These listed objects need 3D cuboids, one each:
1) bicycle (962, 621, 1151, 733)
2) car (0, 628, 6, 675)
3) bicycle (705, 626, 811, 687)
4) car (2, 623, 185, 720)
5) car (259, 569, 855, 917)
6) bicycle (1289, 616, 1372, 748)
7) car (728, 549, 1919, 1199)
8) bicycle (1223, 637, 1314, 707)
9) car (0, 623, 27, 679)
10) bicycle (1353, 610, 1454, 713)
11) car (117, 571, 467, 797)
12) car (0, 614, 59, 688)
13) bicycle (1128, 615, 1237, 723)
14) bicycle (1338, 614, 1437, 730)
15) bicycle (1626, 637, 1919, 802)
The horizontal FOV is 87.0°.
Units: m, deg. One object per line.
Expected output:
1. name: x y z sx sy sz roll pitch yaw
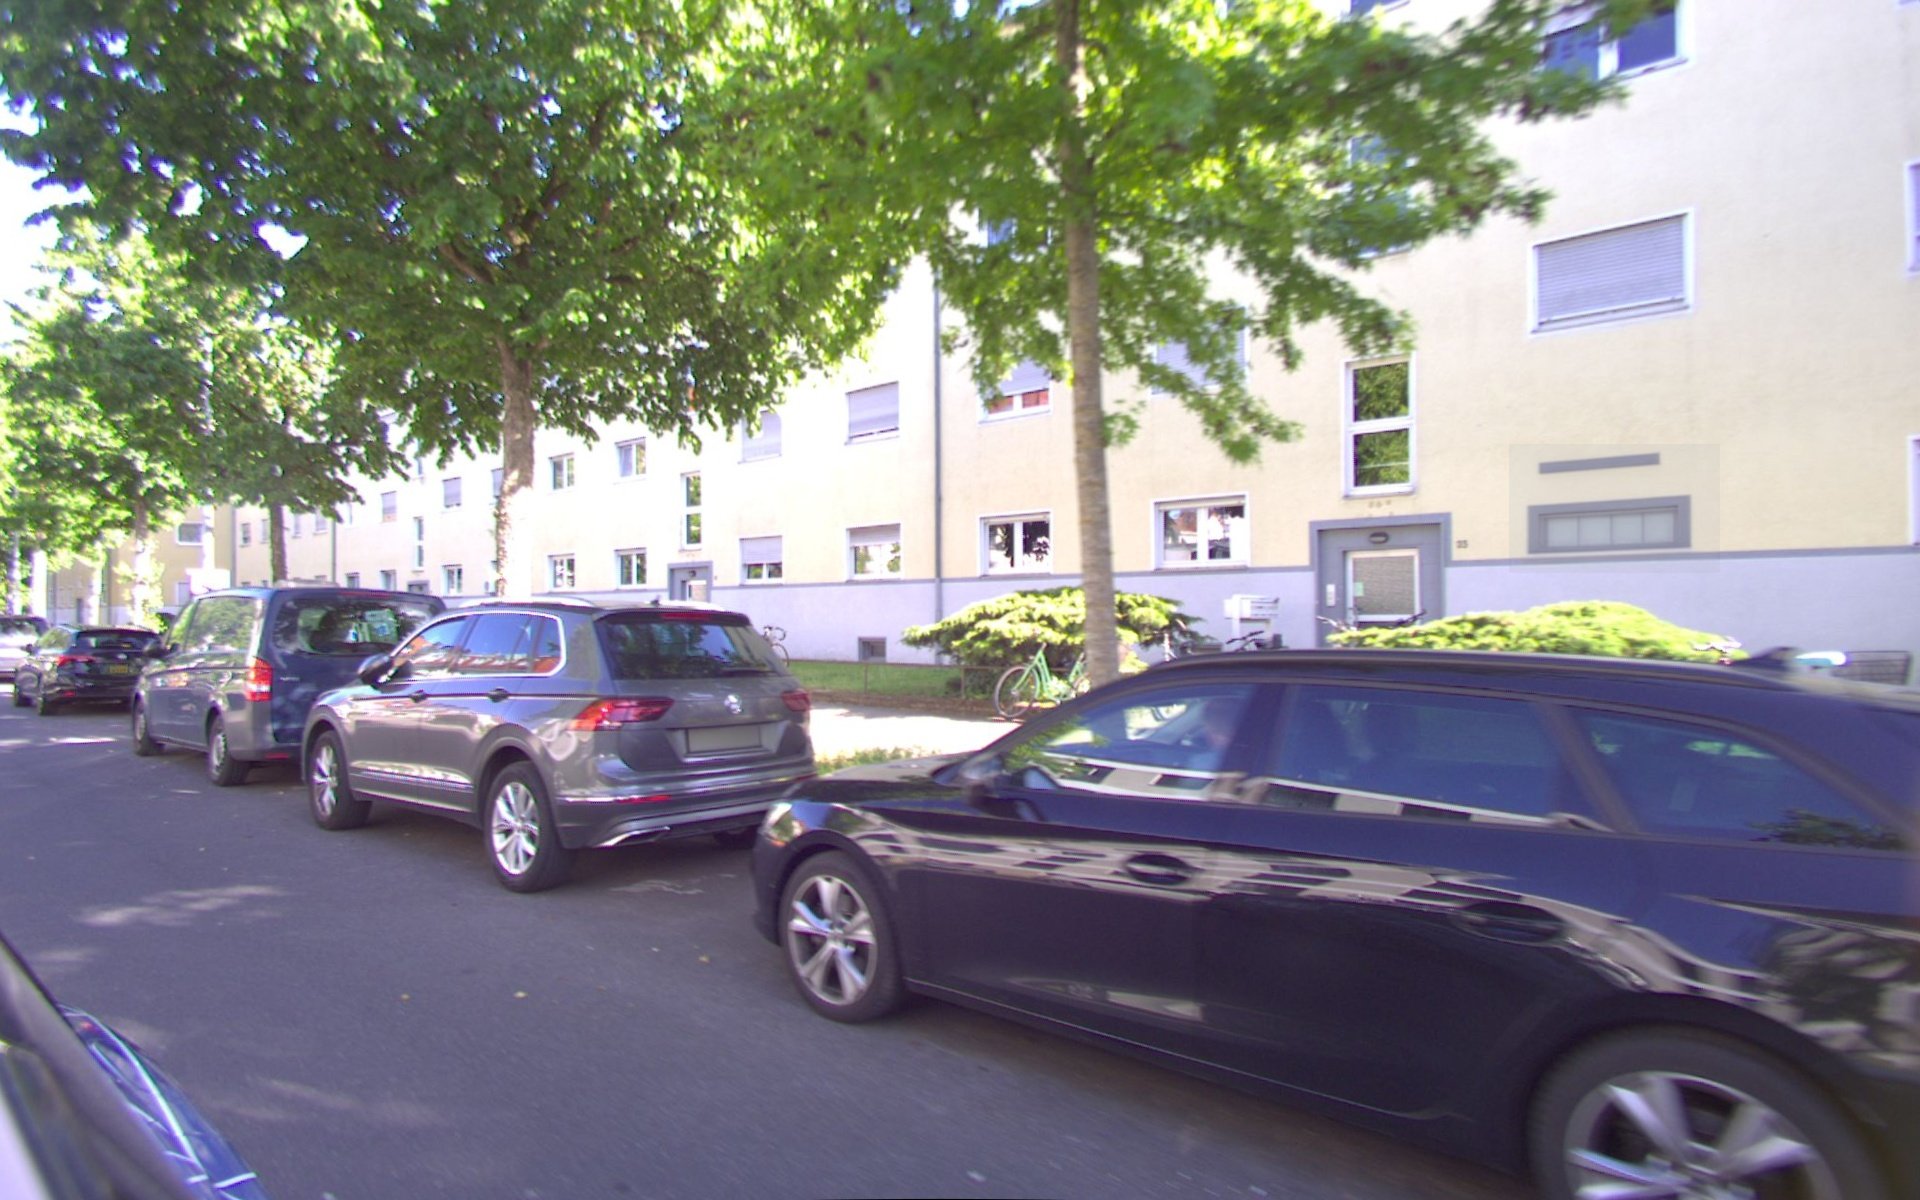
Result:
1. bicycle: 1.082 0.849 11.808 2.258 1.199 0.589 -1 -2 39
2. car: -30.878 1.579 31.287 3.809 1.401 1.585 -1 -1 40
3. bicycle: -3.238 0.875 16.124 1.901 0.923 0.589 -1 -2 39
4. car: -15.062 1.179 17.524 4.061 1.482 1.757 -1 -4 41
5. car: -2.985 0.752 7.035 4.519 1.699 1.777 -1 -2 37
6. bicycle: 3.836 0.792 10.421 0.515 1.235 1.623 -1 -1 30
7. car: 1.349 0.680 3.334 4.485 1.463 1.775 -1 -2 40
8. bicycle: 4.357 0.983 14.222 0.585 0.876 1.691 -1 -1 41
9. car: -27.999 1.442 28.886 3.414 1.556 1.585 -1 -1 40
10. bicycle: 5.872 0.765 13.330 0.776 1.235 1.933 -1 -1 37
11. car: -7.162 0.752 10.618 4.863 1.864 1.775 -1 -2 41
12. car: -24.003 1.236 25.184 3.998 1.741 1.840 -1 -3 42
13. bicycle: 2.796 0.813 12.606 0.517 1.235 1.802 -1 -1 41
14. bicycle: 4.970 0.786 11.725 0.590 1.235 1.618 -1 -1 40
15. bicycle: 6.078 0.822 7.412 1.932 1.069 0.566 -1 -1 41
